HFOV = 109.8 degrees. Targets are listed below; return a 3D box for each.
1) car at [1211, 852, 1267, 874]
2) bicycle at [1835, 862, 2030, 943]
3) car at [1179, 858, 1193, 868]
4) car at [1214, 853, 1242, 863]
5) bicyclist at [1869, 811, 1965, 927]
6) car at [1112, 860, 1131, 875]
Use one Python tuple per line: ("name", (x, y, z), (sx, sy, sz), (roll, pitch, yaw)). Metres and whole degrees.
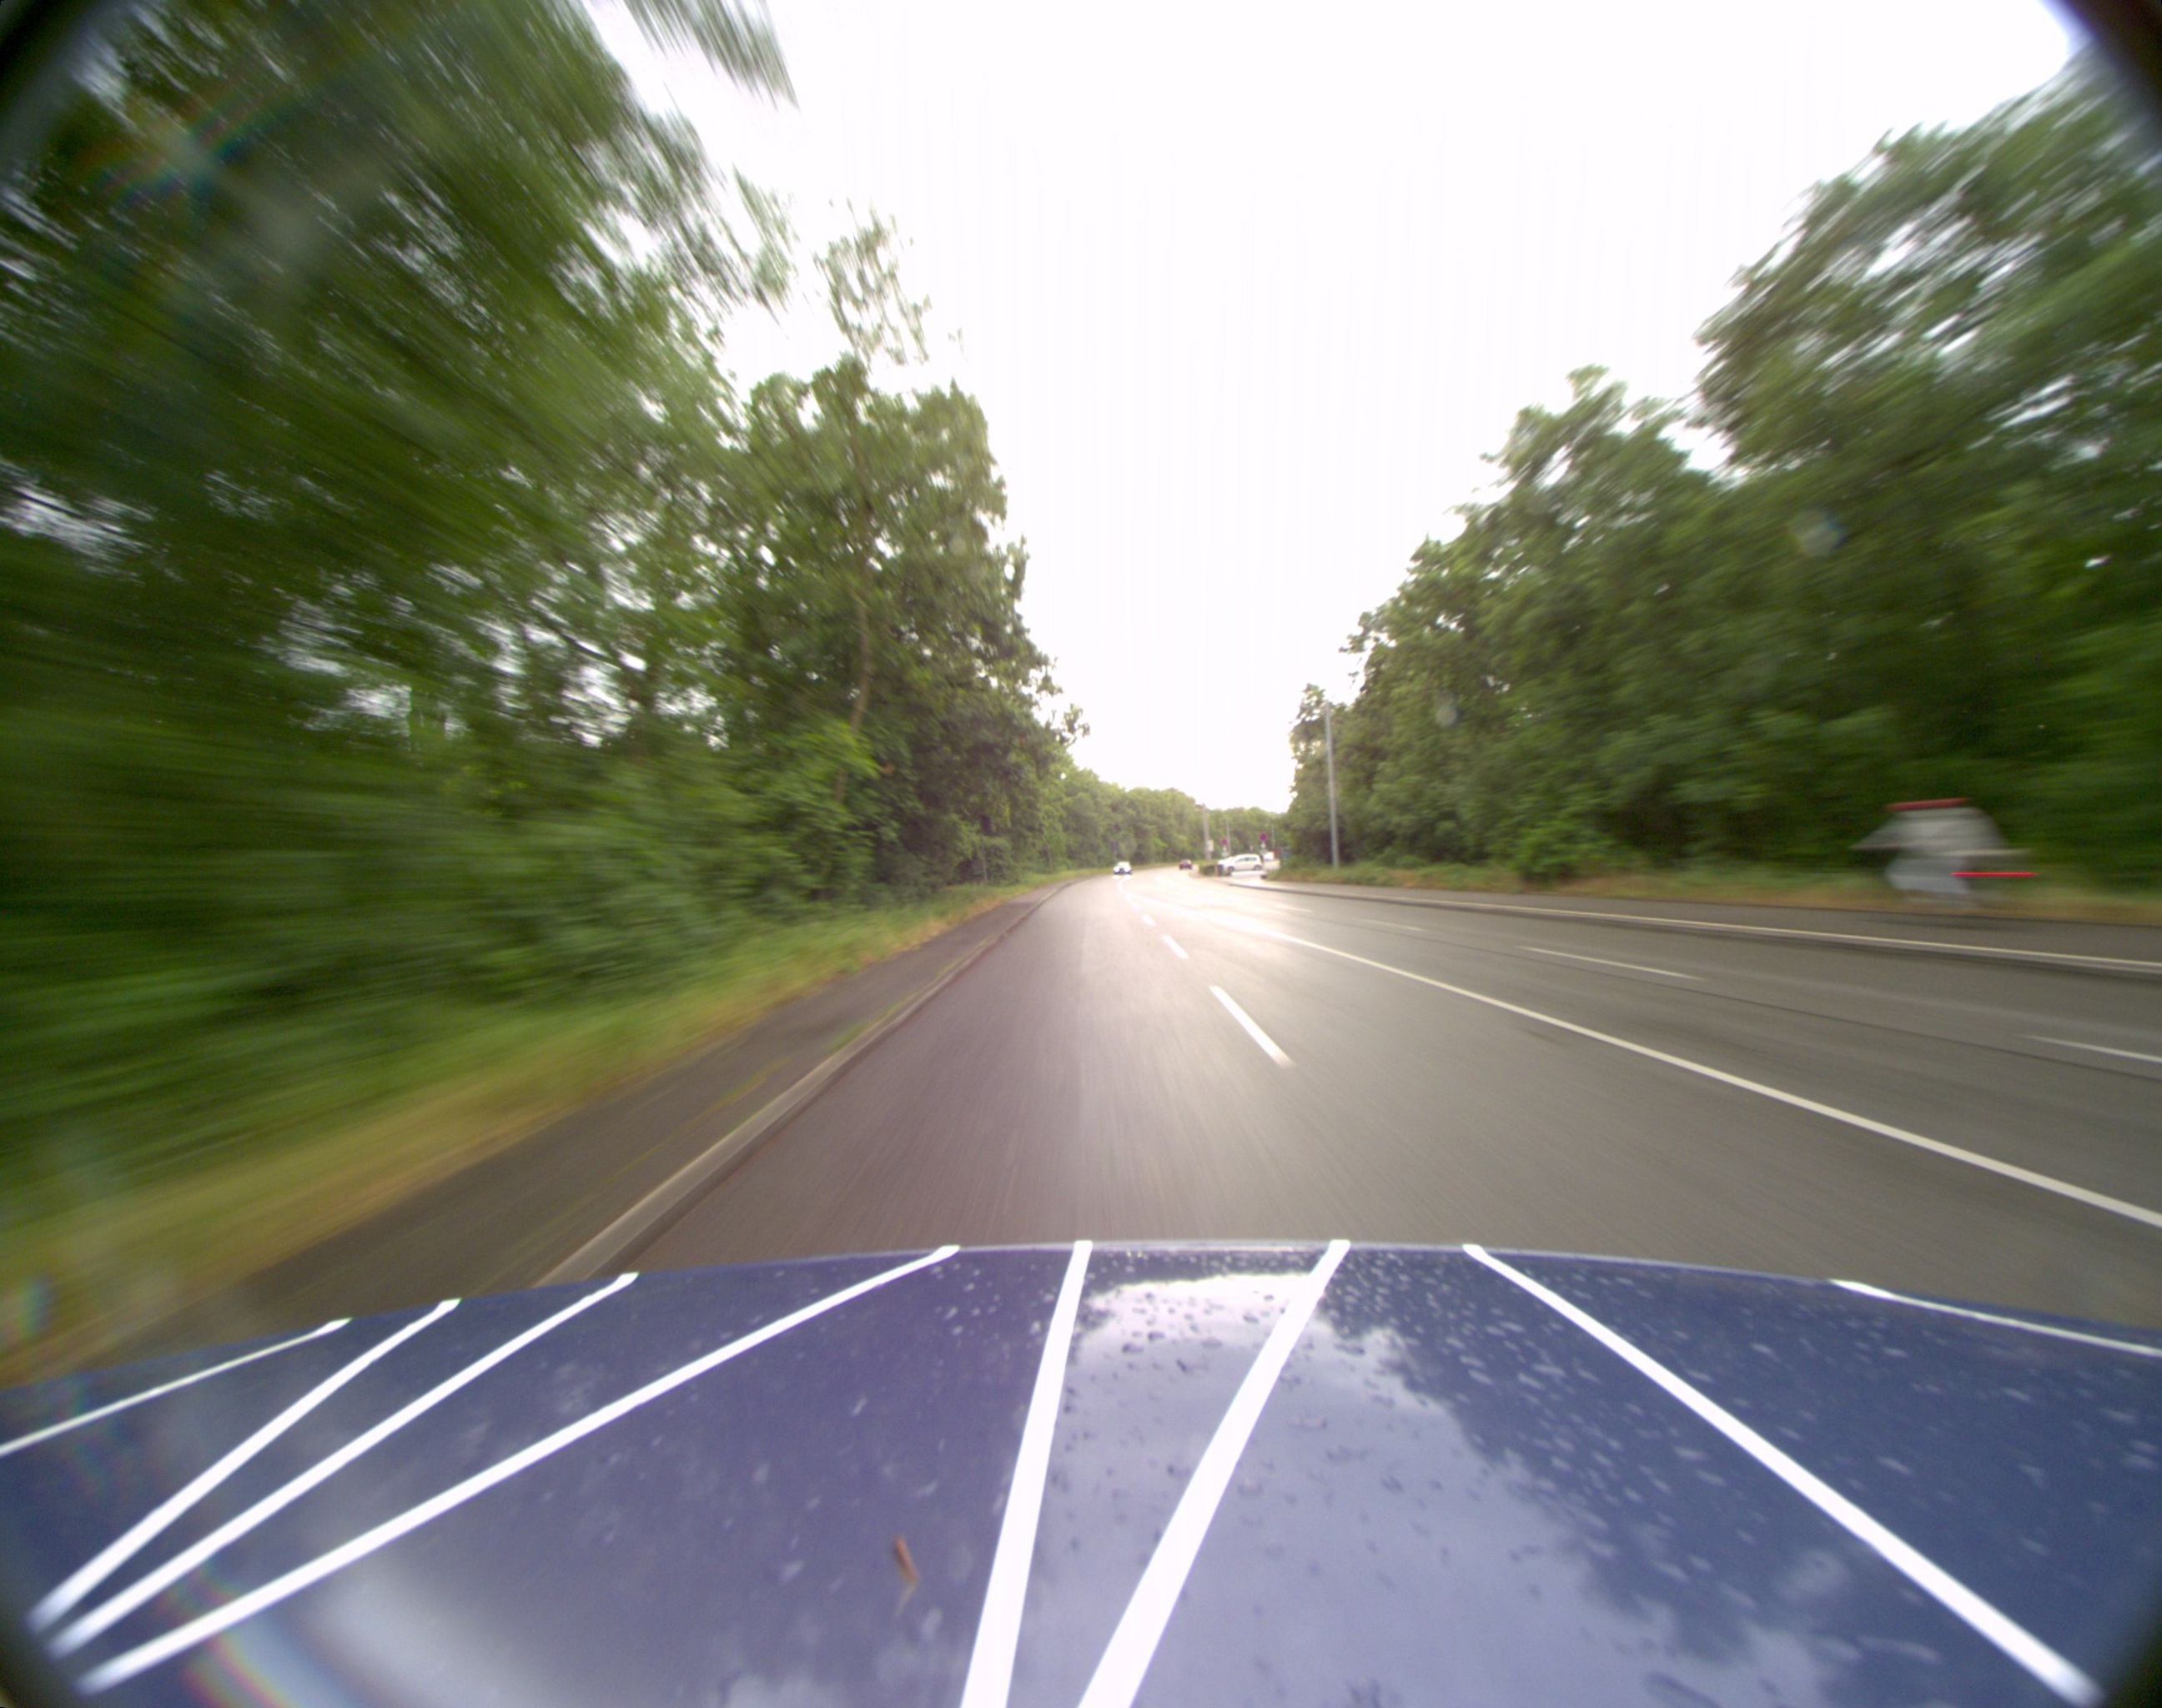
("car", (14.531, 0.836, 70.060), (4.751, 1.707, 1.895), (-3, 1, 6))
("bicycle", (11.833, 0.625, 10.674), (0.453, 0.998, 2.018), (-4, 0, 2))
("car", (16.204, 1.339, 116.994), (1.855, 1.464, 3.917), (-1, 0, 12))
("car", (23.471, 0.571, 121.514), (4.205, 1.475, 1.908), (-2, 0, 6))
("bicyclist", (11.765, 0.209, 10.716), (0.580, 1.577, 0.700), (-1, 1, 3))
("car", (4.627, 1.503, 85.519), (1.998, 1.577, 4.001), (-1, 0, 5))
